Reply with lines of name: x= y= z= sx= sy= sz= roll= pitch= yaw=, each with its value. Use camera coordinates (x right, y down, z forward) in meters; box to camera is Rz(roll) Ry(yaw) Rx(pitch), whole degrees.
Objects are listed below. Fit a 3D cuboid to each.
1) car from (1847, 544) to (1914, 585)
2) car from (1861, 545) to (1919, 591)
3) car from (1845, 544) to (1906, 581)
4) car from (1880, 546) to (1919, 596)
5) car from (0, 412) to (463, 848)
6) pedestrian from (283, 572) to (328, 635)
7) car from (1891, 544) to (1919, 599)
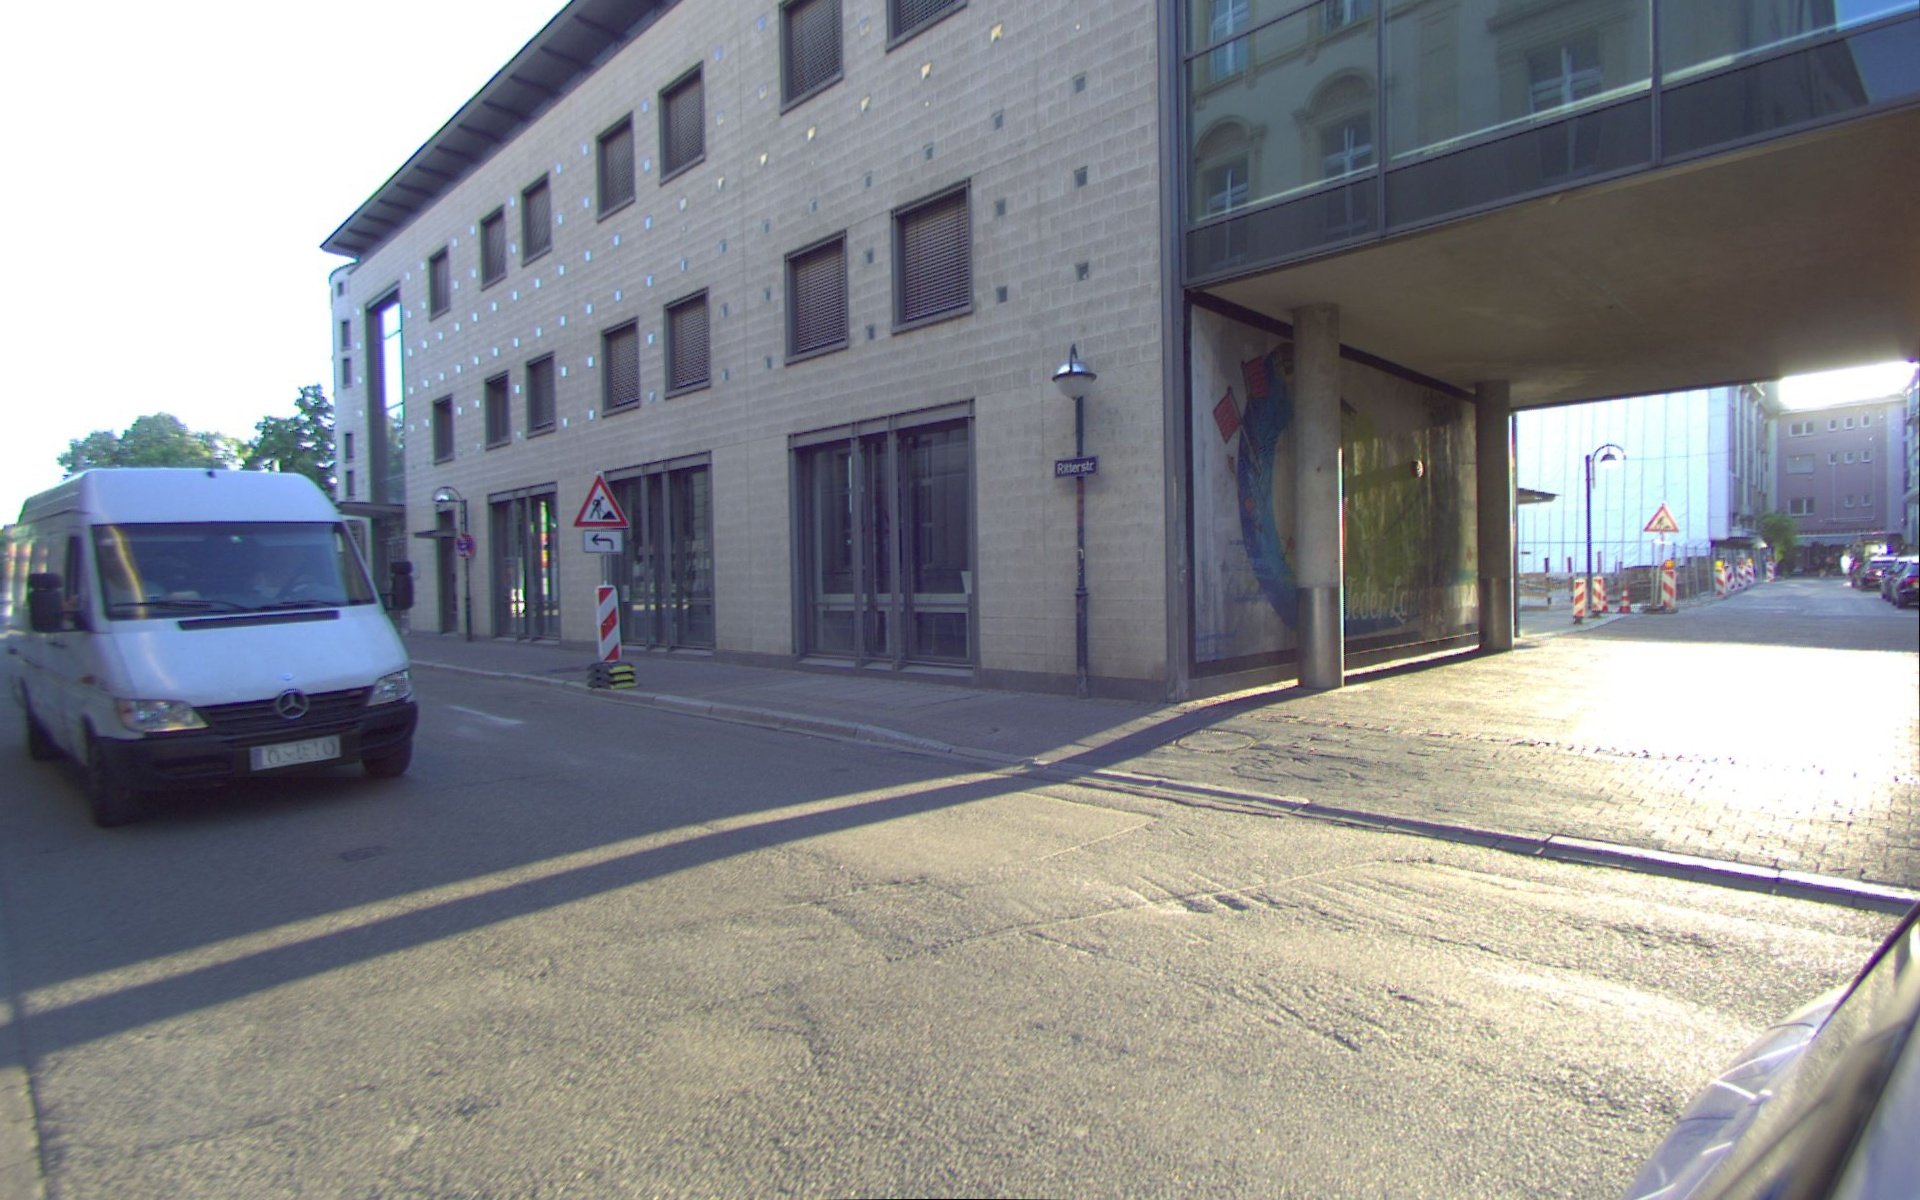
car: x=36.098 y=-1.359 z=39.738 sx=1.592 sy=1.512 sz=3.400 roll=0 pitch=1 yaw=37
car: x=32.564 y=-1.094 z=35.122 sx=1.592 sy=1.512 sz=3.400 roll=0 pitch=1 yaw=37
car: x=39.301 y=-1.588 z=43.509 sx=1.592 sy=1.512 sz=3.400 roll=0 pitch=1 yaw=37
car: x=30.376 y=-0.916 z=31.979 sx=1.592 sy=1.512 sz=3.400 roll=0 pitch=1 yaw=37
car: x=-6.747 y=0.118 z=8.766 sx=6.442 sy=2.542 sz=1.974 roll=0 pitch=3 yaw=41
pedestrian: x=-18.332 y=0.088 z=28.358 sx=0.910 sy=1.723 sz=0.866 roll=-1 pitch=0 yaw=-43
car: x=28.019 y=-0.829 z=29.010 sx=1.592 sy=1.512 sz=3.400 roll=0 pitch=1 yaw=37
